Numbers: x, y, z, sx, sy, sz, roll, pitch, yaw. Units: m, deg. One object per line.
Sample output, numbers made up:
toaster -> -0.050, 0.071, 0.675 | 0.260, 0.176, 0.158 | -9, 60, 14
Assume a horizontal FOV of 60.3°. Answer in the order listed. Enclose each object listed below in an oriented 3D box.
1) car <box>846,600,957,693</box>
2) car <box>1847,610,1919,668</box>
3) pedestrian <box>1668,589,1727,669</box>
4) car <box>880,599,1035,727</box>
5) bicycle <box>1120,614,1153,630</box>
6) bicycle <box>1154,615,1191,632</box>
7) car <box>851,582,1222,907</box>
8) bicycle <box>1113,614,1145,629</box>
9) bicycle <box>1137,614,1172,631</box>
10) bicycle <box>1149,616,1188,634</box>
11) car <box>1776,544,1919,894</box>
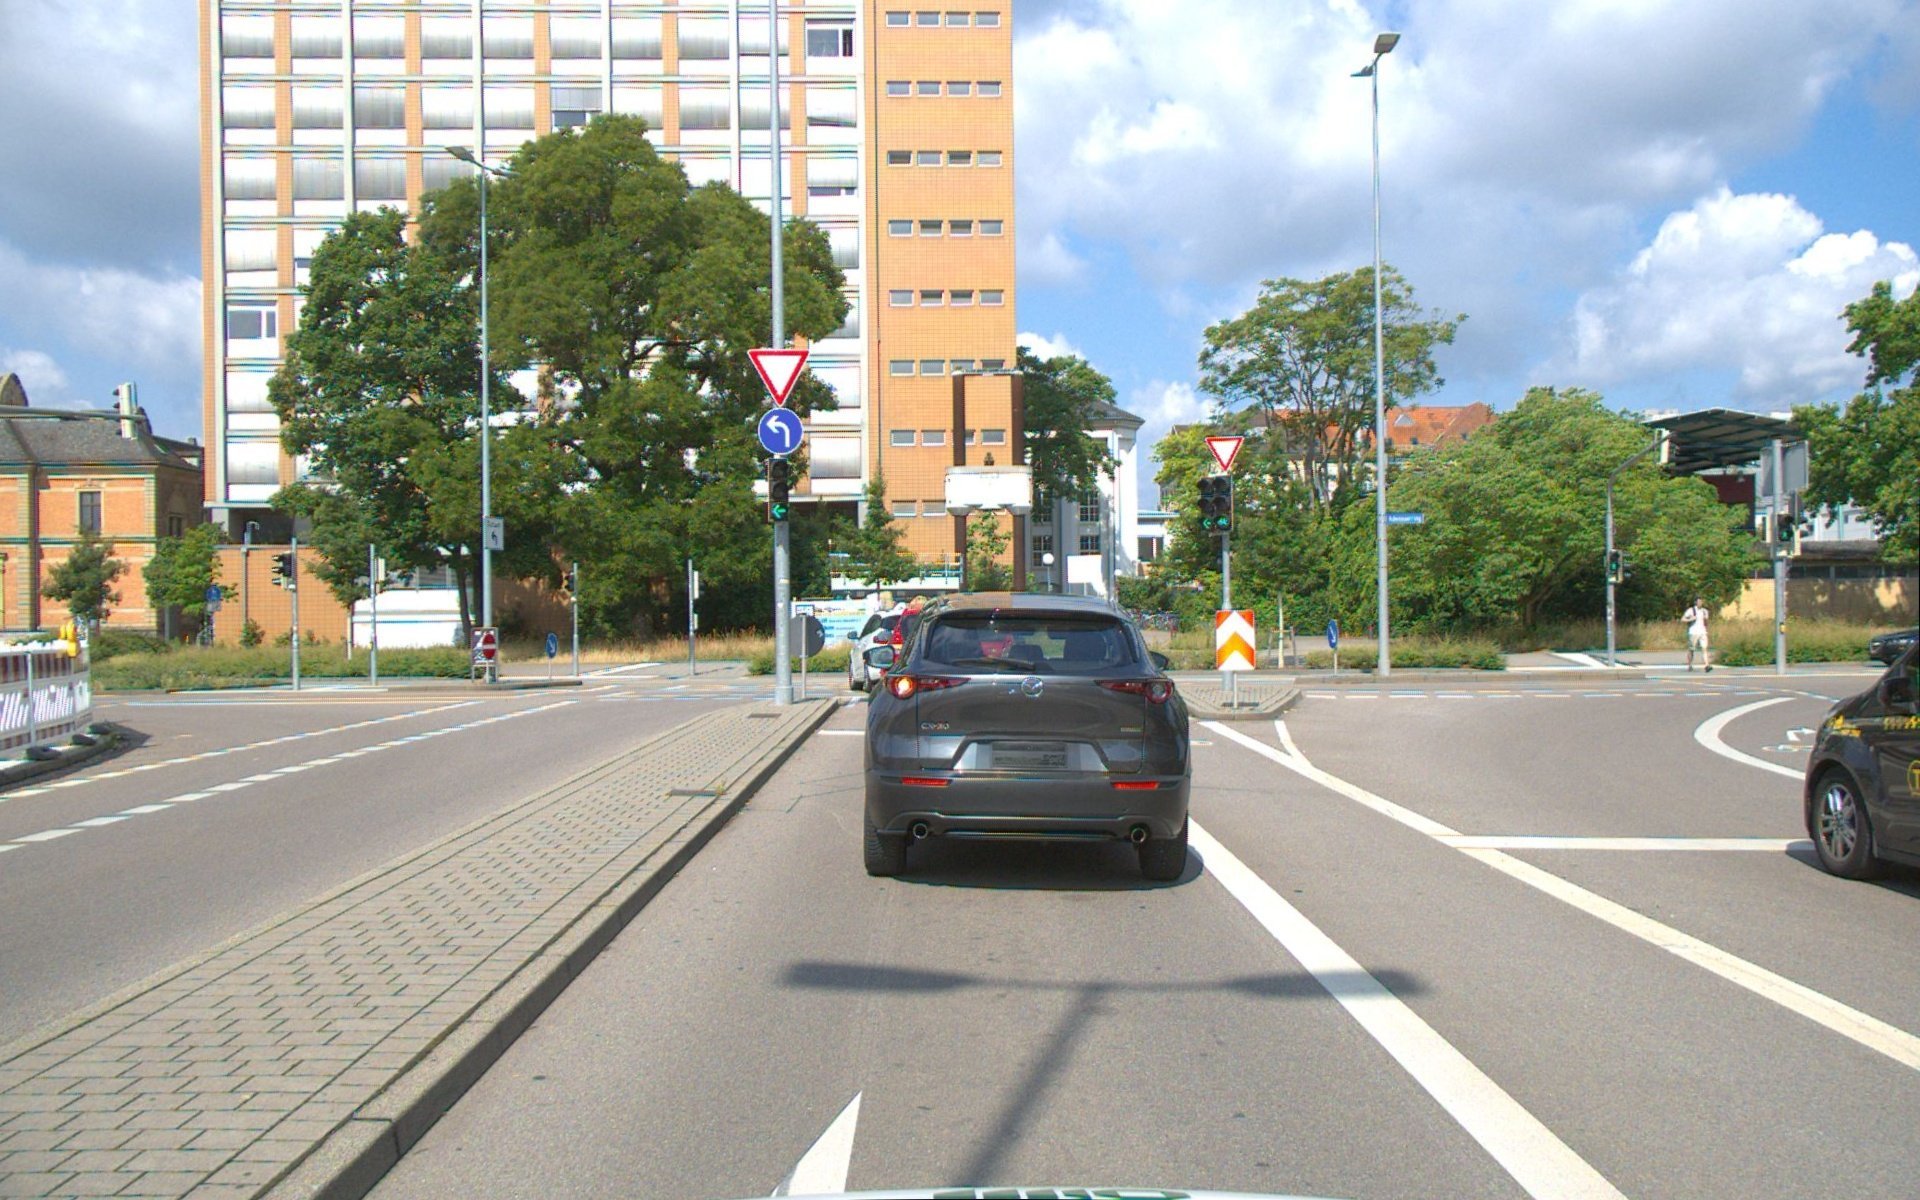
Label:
car -> -1.018, 0.788, 29.703 | 1.810, 1.498, 4.334 | -1, 0, -1
car -> 25.414, 0.971, 42.593 | 4.061, 1.401, 2.000 | -1, 0, 1
pedestrian -> 18.013, 0.717, 40.430 | 0.684, 1.890, 1.177 | -1, -3, -11
car -> -0.011, 0.731, 21.234 | 1.779, 1.464, 4.067 | 1, 0, 0
bicycle -> 11.144, 1.388, 104.389 | 2.013, 0.953, 0.804 | -1, -1, -2
bicycle -> 12.185, 1.348, 94.933 | 2.013, 0.953, 0.804 | -1, -1, -2
car -> 0.333, 0.709, 10.142 | 1.769, 1.534, 4.204 | 2, 0, -1
bicycle -> 11.159, 1.418, 109.248 | 2.013, 0.953, 0.804 | -1, -1, -2
bicycle -> 11.702, 1.368, 99.660 | 2.013, 0.953, 0.804 | -1, -1, -2
bicycle -> 11.629, 1.415, 92.205 | 2.013, 0.953, 0.804 | -1, -1, -2
car -> 5.875, 0.620, 7.822 | 1.810, 1.816, 4.672 | 0, 0, 1
